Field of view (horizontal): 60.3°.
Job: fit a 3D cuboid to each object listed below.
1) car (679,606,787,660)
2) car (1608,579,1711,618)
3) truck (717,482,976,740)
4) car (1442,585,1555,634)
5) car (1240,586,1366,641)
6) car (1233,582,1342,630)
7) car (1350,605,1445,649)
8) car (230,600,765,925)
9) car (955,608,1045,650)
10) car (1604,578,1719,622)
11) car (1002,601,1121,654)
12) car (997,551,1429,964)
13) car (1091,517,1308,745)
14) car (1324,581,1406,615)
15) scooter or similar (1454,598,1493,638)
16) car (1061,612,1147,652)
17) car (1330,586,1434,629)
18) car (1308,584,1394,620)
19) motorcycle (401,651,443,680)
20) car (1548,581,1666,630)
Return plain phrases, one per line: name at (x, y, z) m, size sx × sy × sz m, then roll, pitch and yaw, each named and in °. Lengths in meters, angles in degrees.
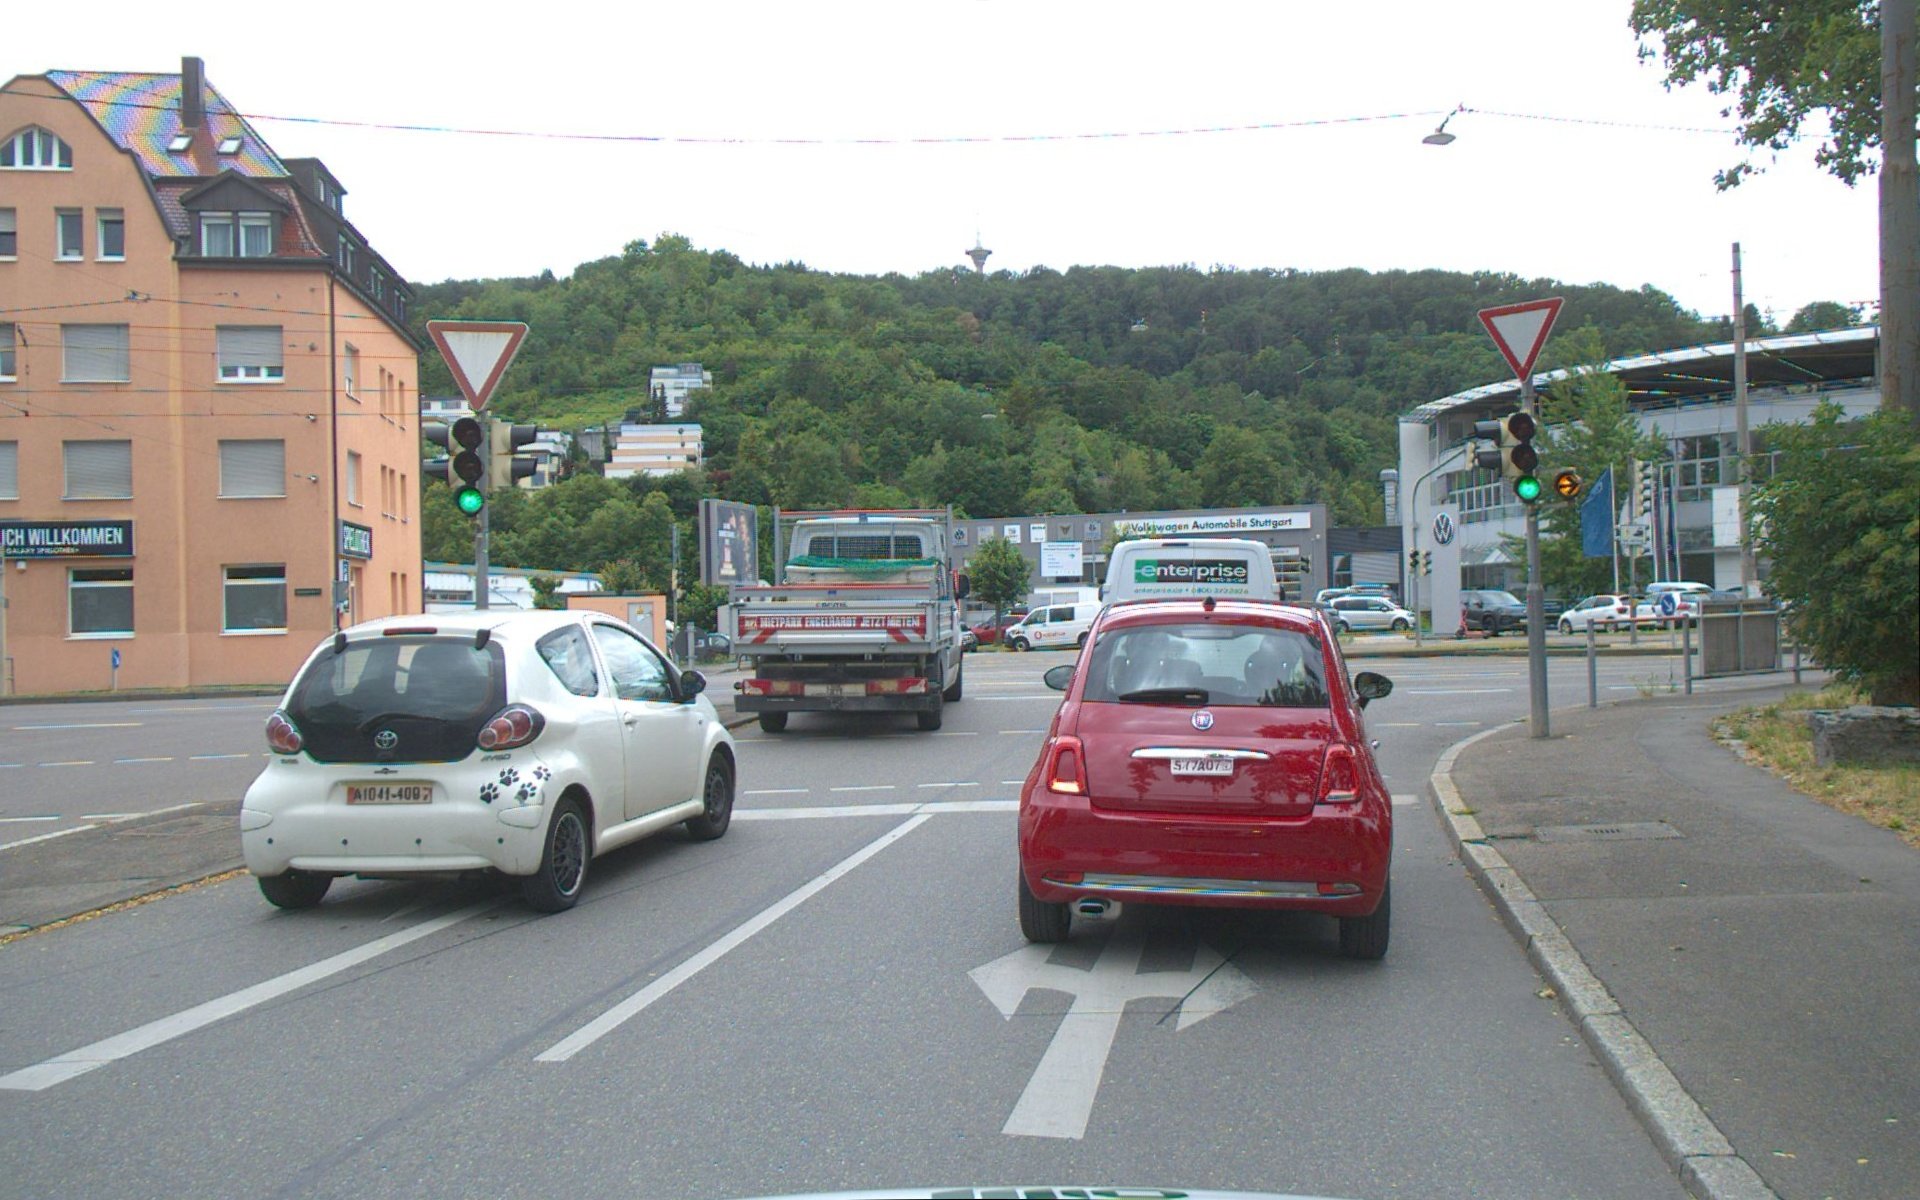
car at (-10.233, 1.496, 74.594) m, size 4.435 × 2.282 × 1.986 m, roll 3°, pitch -2°, yaw -23°
car at (31.038, -0.038, 73.483) m, size 1.897 × 1.581 × 3.968 m, roll 3°, pitch -2°, yaw -25°
truck at (-1.089, 0.048, 19.049) m, size 2.265 × 2.463 × 5.657 m, roll -2°, pitch 1°, yaw 3°
car at (19.240, 0.366, 59.284) m, size 1.962 × 1.669 × 3.981 m, roll 0°, pitch -1°, yaw -17°
car at (11.715, 0.434, 56.498) m, size 3.907 × 1.668 × 2.000 m, roll 1°, pitch 3°, yaw 24°
car at (12.886, 0.247, 65.316) m, size 3.904 × 1.736 × 2.000 m, roll 2°, pitch -2°, yaw 1°
car at (21.953, 1.362, 83.126) m, size 4.400 × 2.032 × 2.001 m, roll 2°, pitch -2°, yaw 10°
car at (-2.381, 0.773, 9.396) m, size 1.559 × 1.445 × 3.377 m, roll -3°, pitch 0°, yaw 10°
car at (2.118, 1.551, 86.677) m, size 4.400 × 2.032 × 2.001 m, roll 2°, pitch -2°, yaw 10°
car at (25.745, 0.029, 60.800) m, size 1.779 × 1.503 × 3.981 m, roll 2°, pitch -2°, yaw -17°
car at (4.485, 1.239, 72.924) m, size 4.895 × 2.049 × 2.001 m, roll -3°, pitch -3°, yaw 15°
car at (1.449, 0.625, 8.526) m, size 1.661 × 1.552 × 4.003 m, roll 2°, pitch 0°, yaw 14°
car at (2.538, 0.244, 17.823) m, size 1.956 × 2.076 × 4.836 m, roll 1°, pitch 1°, yaw 7°
car at (23.158, -0.084, 94.702) m, size 4.400 × 1.759 × 2.001 m, roll 2°, pitch -2°, yaw 9°
scooter or similar at (17.486, 0.620, 56.324) m, size 1.175 × 1.311 × 0.576 m, roll 2°, pitch -2°, yaw 5°
car at (7.043, 1.578, 80.702) m, size 3.902 × 1.825 × 1.855 m, roll 2°, pitch -2°, yaw 13°
car at (19.243, 0.353, 75.523) m, size 4.400 × 1.759 × 2.001 m, roll 2°, pitch -2°, yaw 9°
car at (21.399, 0.122, 90.599) m, size 4.400 × 1.759 × 2.001 m, roll 2°, pitch -2°, yaw 9°
motorcycle at (-19.611, 2.391, 60.297) m, size 1.675 × 1.001 × 0.527 m, roll 1°, pitch -2°, yaw 36°
car at (23.486, 0.240, 60.208) m, size 1.962 × 1.669 × 3.981 m, roll 2°, pitch -2°, yaw -17°
